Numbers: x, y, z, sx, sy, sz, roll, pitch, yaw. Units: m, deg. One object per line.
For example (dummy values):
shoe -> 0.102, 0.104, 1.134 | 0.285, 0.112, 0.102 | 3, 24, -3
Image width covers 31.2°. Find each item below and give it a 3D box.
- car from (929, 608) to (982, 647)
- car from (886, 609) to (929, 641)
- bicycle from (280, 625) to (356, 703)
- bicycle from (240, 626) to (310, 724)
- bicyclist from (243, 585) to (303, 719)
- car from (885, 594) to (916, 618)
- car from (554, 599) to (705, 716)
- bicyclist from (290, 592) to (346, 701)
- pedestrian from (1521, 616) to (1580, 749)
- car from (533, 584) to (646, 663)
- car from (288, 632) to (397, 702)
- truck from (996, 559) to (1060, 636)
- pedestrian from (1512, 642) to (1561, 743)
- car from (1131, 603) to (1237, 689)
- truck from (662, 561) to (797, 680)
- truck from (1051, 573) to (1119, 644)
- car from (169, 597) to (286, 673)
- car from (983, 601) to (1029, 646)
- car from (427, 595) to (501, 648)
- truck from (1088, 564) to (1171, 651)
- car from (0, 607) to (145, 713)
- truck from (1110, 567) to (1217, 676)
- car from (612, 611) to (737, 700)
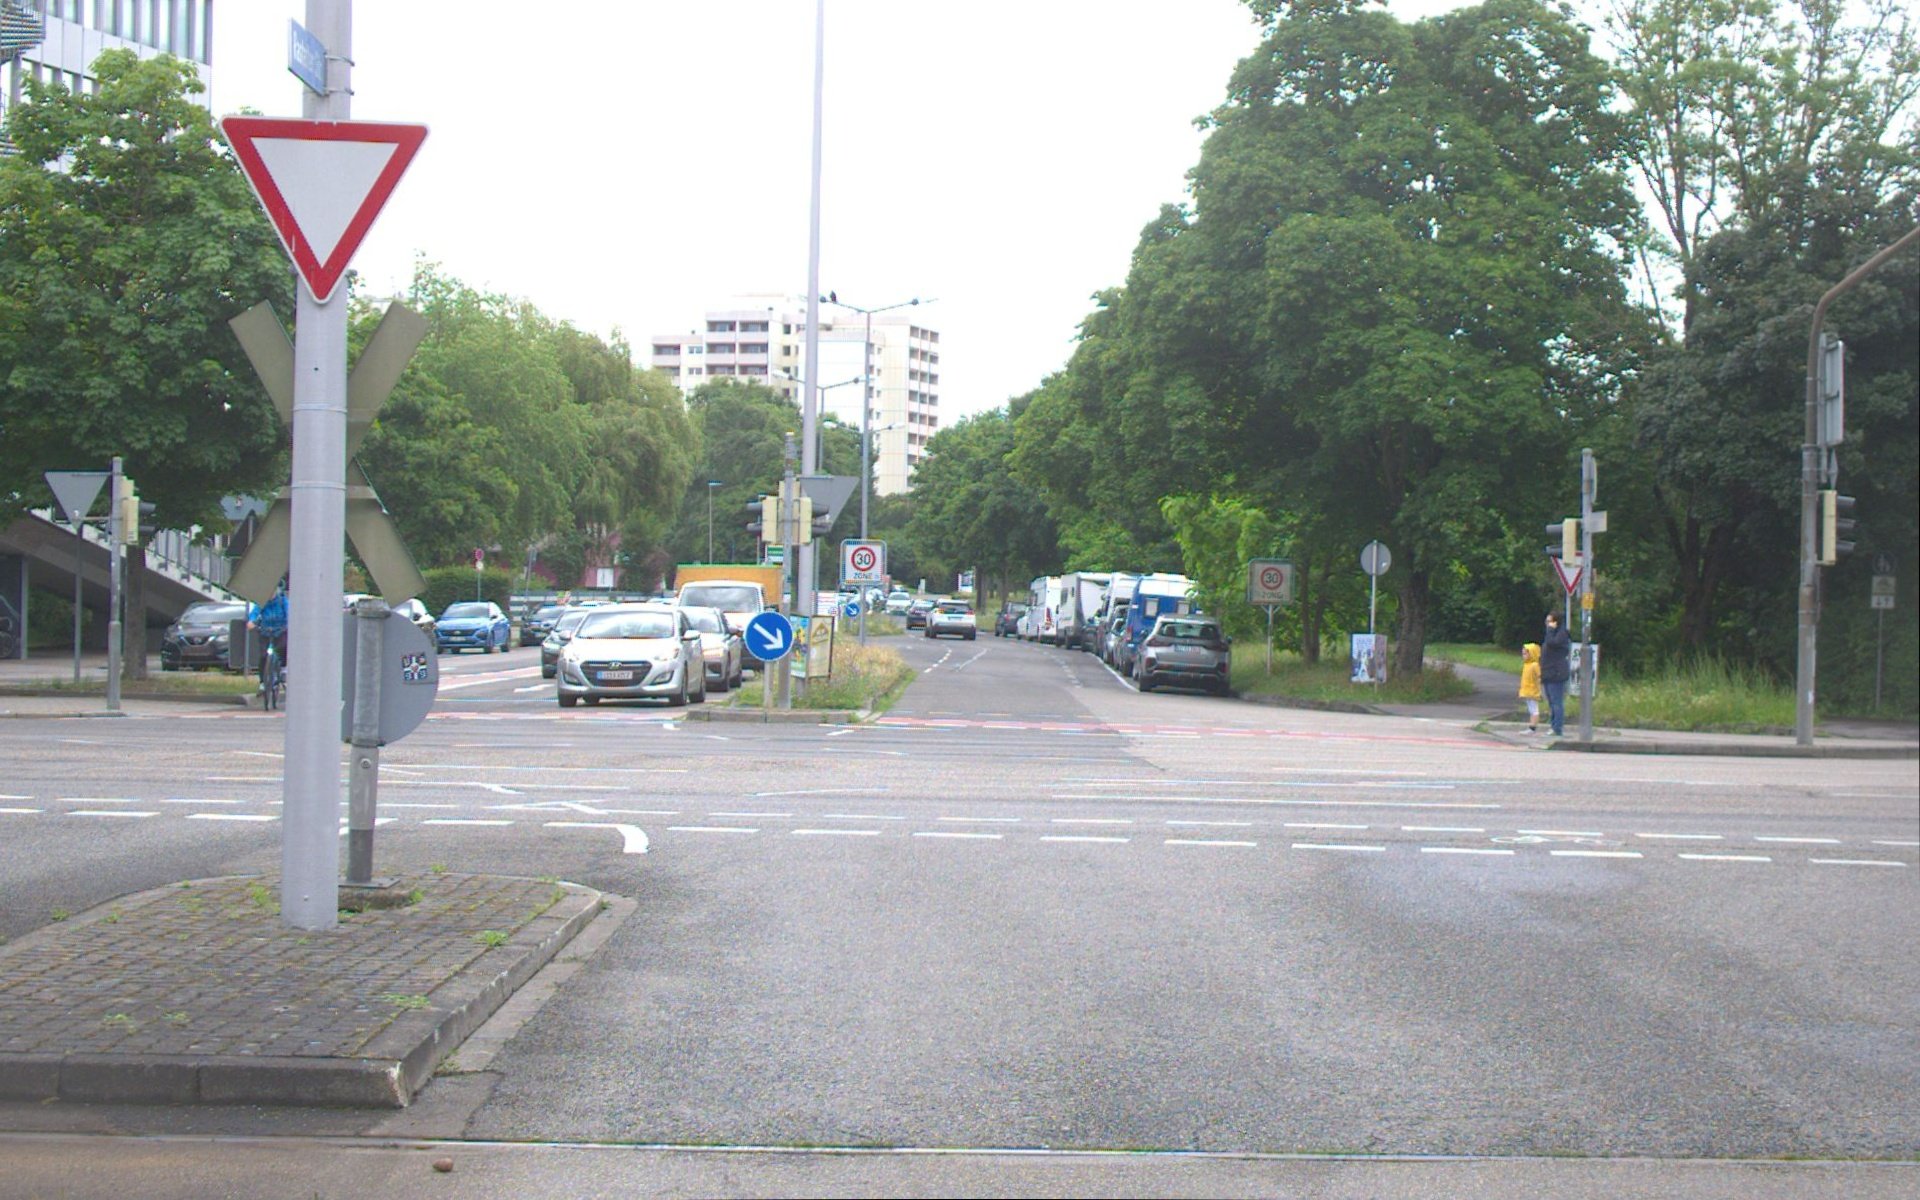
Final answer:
car -> -0.206, 1.126, 140.861 | 2.020, 1.500, 4.000 | 1, 0, -1
car -> -2.579, 1.201, 167.461 | 2.020, 1.500, 4.000 | 1, 0, -1
bicycle -> -9.559, 0.942, 51.228 | 0.726, 1.097, 2.264 | 1, 0, -1
bicycle -> -9.266, 1.005, 46.542 | 0.543, 1.263, 2.111 | 1, 0, -1
bicyclist -> -9.212, 0.693, 46.119 | 0.644, 1.763, 0.647 | 1, 0, -1
car -> -4.029, 0.399, 233.409 | 2.020, 1.500, 4.000 | 1, 0, -1
car -> -4.687, 0.792, 49.250 | 1.789, 1.514, 4.326 | -3, 0, -1
bicyclist -> -9.547, 0.689, 51.153 | 0.679, 1.589, 0.695 | 1, -1, -1
pedestrian -> 7.861, 1.099, 45.777 | 0.657, 1.744, 0.459 | 1, 0, -1
car -> -7.272, 0.446, 67.811 | 1.770, 1.472, 4.390 | 1, 0, -1
car -> -12.813, 1.369, 71.502 | 1.512, 1.385, 3.532 | 1, -1, 1
truck -> 2.743, -0.075, 139.463 | 1.993, 2.999, 5.772 | 1, -1, -4
pedestrian -> 7.777, 1.249, 46.400 | 0.526, 1.337, 0.525 | 1, 0, -1
car -> 4.566, 0.913, 70.458 | 1.784, 1.656, 4.000 | 1, 0, -1
truck -> -4.488, 0.382, 67.839 | 2.155, 2.191, 5.840 | 1, 0, 1
truck -> 4.645, 0.340, 128.689 | 1.993, 2.564, 5.379 | 1, -1, -3
car -> -15.726, 0.727, 73.933 | 1.671, 1.547, 3.892 | 1, 0, 0
car -> 2.057, 1.060, 154.794 | 1.651, 1.912, 3.919 | 1, 1, -5
car -> -15.147, 0.654, 105.089 | 1.671, 1.547, 4.000 | 1, 0, 0
truck -> 5.728, 0.242, 116.628 | 1.993, 2.828, 5.732 | 1, 0, -5
car -> -14.446, 0.910, 53.514 | 1.673, 1.547, 3.997 | 1, 0, 15
truck -> 5.125, 0.549, 87.267 | 2.174, 2.647, 6.246 | 1, -1, -1
car -> -4.921, 0.929, 59.760 | 1.896, 1.415, 4.736 | 1, 0, -2
